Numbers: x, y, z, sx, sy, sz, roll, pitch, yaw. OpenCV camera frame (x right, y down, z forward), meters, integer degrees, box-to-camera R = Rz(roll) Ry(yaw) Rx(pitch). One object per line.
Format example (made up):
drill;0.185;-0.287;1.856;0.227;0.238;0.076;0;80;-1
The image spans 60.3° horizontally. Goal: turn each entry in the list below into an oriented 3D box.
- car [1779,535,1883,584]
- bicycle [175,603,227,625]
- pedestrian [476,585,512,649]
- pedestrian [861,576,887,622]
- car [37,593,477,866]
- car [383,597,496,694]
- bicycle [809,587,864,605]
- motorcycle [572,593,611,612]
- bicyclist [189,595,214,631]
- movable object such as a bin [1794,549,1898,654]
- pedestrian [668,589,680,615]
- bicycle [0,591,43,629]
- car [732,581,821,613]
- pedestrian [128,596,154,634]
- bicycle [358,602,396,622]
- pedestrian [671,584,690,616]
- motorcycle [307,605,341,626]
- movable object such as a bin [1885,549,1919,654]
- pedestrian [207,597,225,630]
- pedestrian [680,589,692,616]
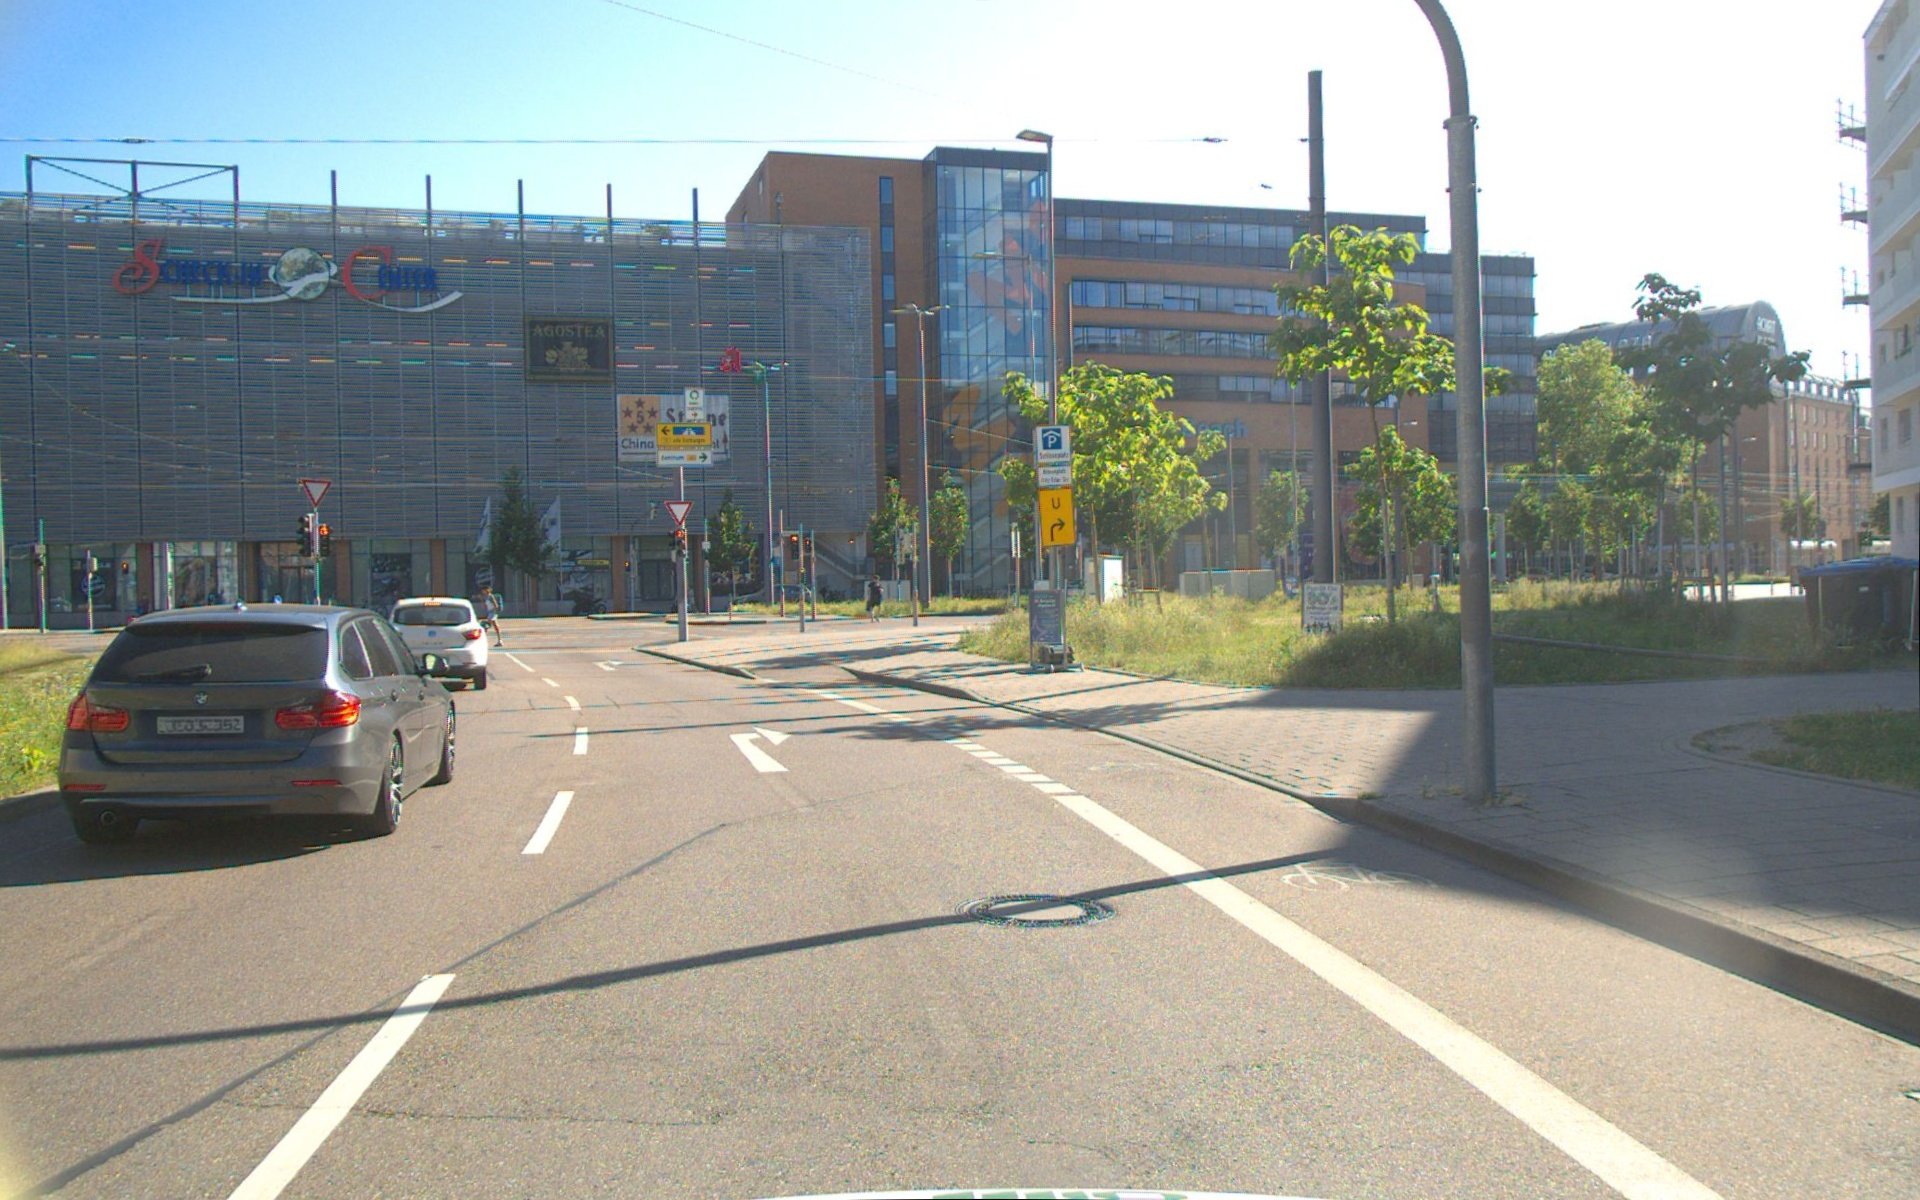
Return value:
car;39.020;-1.782;74.121;3.919;2.049;1.993;-1;0;35
bicycle;-39.551;0.715;86.209;1.023;1.089;2.240;-1;1;30
pedestrian;-12.932;0.452;45.891;0.872;1.737;0.709;-1;0;-19
pedestrian;-3.248;-0.041;62.332;0.794;1.738;0.757;-1;0;-19
car;-4.418;0.718;11.129;1.702;1.448;4.457;1;0;-10
car;-8.480;0.697;26.860;1.607;1.448;3.762;2;-1;-19
bicycle;-7.770;-0.254;104.088;3.302;1.096;1.113;0;1;-13
motorcycle;-21.955;0.148;98.604;2.169;1.061;1.056;-1;1;-19
bicyclist;-39.533;0.686;86.197;0.798;1.834;0.844;-1;0;30
movable object such as a bin;12.495;0.013;23.323;1.052;1.423;1.297;-1;1;39
pedestrian;-16.844;0.113;97.407;0.580;1.488;0.655;-1;0;-19
bicycle;-52.179;0.547;89.795;3.926;2.049;1.323;-1;1;-19
car;-9.663;-0.158;87.070;4.419;1.521;1.487;-2;0;-19
pedestrian;-42.381;0.779;85.597;0.885;1.901;0.820;-1;0;24
bicycle;-33.280;0.654;94.501;1.996;1.078;1.138;-2;0;-20
pedestrian;-15.563;0.015;91.957;0.843;1.768;0.748;-2;0;-25
motorcycle;-34.391;0.838;89.383;1.621;1.078;0.496;-1;0;-10
movable object such as a bin;13.569;-0.003;22.918;1.090;1.423;1.314;-1;1;39
pedestrian;-41.908;0.750;93.174;0.835;1.794;0.616;-1;0;-20
pedestrian;-16.210;0.132;97.694;0.580;1.561;0.655;-1;0;-19
